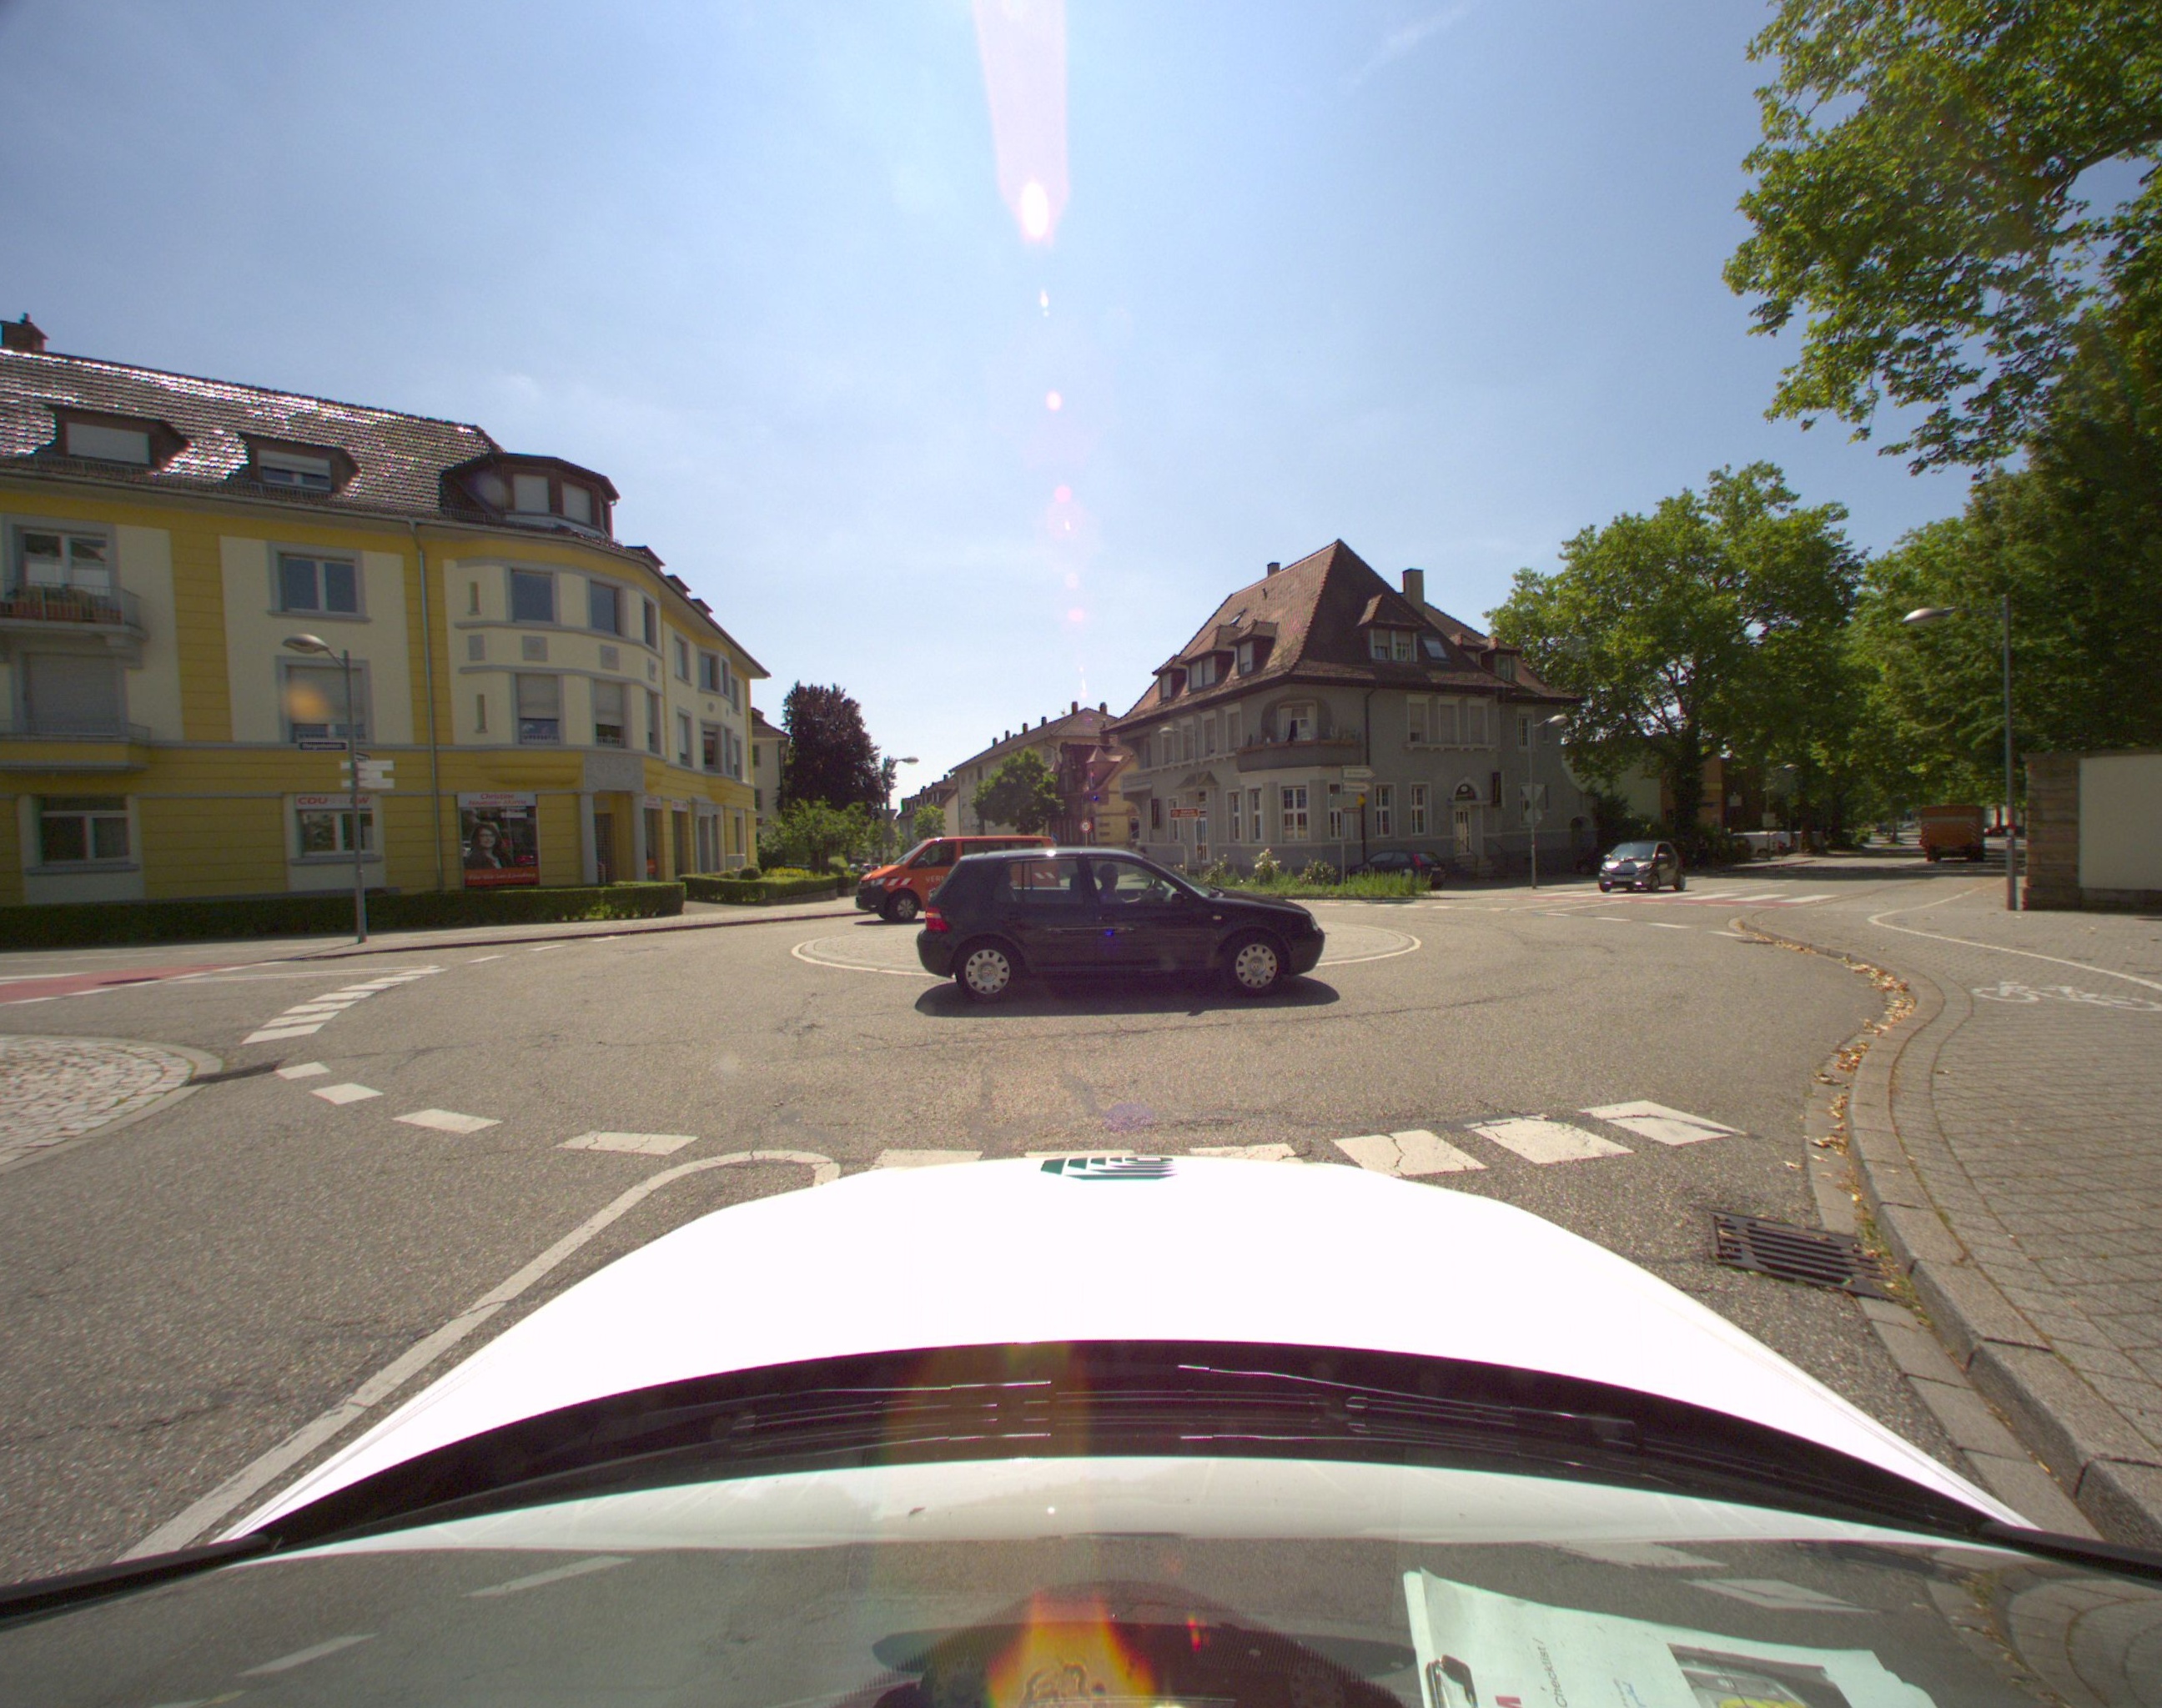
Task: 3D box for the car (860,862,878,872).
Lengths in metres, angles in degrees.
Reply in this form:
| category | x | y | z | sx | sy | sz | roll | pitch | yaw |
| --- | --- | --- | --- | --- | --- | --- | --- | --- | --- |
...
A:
| category | x | y | z | sx | sy | sz | roll | pitch | yaw |
| --- | --- | --- | --- | --- | --- | --- | --- | --- | --- |
| car | -32.306 | 1.938 | 124.150 | 2.003 | 1.509 | 4.383 | -1 | 0 | -24 |

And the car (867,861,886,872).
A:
| category | x | y | z | sx | sy | sz | roll | pitch | yaw |
| --- | --- | --- | --- | --- | --- | --- | --- | --- | --- |
| car | -29.822 | 1.859 | 118.699 | 2.003 | 1.509 | 4.383 | -1 | 0 | -24 |

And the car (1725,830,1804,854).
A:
| category | x | y | z | sx | sy | sz | roll | pitch | yaw |
| --- | --- | --- | --- | --- | --- | --- | --- | --- | --- |
| car | 52.409 | -0.957 | 62.483 | 1.913 | 1.804 | 4.385 | -1 | 2 | -41 |

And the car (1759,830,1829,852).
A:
| category | x | y | z | sx | sy | sz | roll | pitch | yaw |
| --- | --- | --- | --- | --- | --- | --- | --- | --- | --- |
| car | 58.999 | -1.114 | 67.424 | 1.913 | 1.804 | 4.093 | -1 | 2 | -41 |

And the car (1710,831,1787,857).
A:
| category | x | y | z | sx | sy | sz | roll | pitch | yaw |
| --- | --- | --- | --- | --- | --- | --- | --- | --- | --- |
| car | 47.177 | -0.737 | 57.617 | 1.878 | 1.792 | 3.953 | -1 | 2 | -41 |

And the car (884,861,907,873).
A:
| category | x | y | z | sx | sy | sz | roll | pitch | yaw |
| --- | --- | --- | --- | --- | --- | --- | --- | --- | --- |
| car | -23.842 | 1.677 | 104.501 | 2.003 | 1.509 | 4.383 | -1 | 0 | -24 |

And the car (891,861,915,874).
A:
| category | x | y | z | sx | sy | sz | roll | pitch | yaw |
| --- | --- | --- | --- | --- | --- | --- | --- | --- | --- |
| car | -21.922 | 1.620 | 100.090 | 2.003 | 1.509 | 4.383 | -1 | 0 | -24 |

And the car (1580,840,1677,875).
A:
| category | x | y | z | sx | sy | sz | roll | pitch | yaw |
| --- | --- | --- | --- | --- | --- | --- | --- | --- | --- |
| car | 25.520 | 0.158 | 38.061 | 1.728 | 1.546 | 3.362 | -1 | 0 | -28 |

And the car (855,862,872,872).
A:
| category | x | y | z | sx | sy | sz | roll | pitch | yaw |
| --- | --- | --- | --- | --- | --- | --- | --- | --- | --- |
| car | -34.644 | 2.009 | 129.516 | 2.003 | 1.509 | 4.383 | -1 | 0 | -24 |

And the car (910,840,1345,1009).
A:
| category | x | y | z | sx | sy | sz | roll | pitch | yaw |
| --- | --- | --- | --- | --- | --- | --- | --- | --- | --- |
| car | 0.449 | 0.640 | 8.469 | 4.033 | 1.447 | 1.716 | -2 | 1 | -1 |

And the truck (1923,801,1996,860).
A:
| category | x | y | z | sx | sy | sz | roll | pitch | yaw |
| --- | --- | --- | --- | --- | --- | --- | --- | --- | --- |
| truck | 49.808 | -1.262 | 46.136 | 5.797 | 3.134 | 2.351 | 0 | -1 | -39 |

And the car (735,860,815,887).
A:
| category | x | y | z | sx | sy | sz | roll | pitch | yaw |
| --- | --- | --- | --- | --- | --- | --- | --- | --- | --- |
| car | -19.242 | 1.228 | 51.252 | 4.433 | 1.509 | 1.981 | -1 | 0 | -30 |

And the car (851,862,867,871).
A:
| category | x | y | z | sx | sy | sz | roll | pitch | yaw |
| --- | --- | --- | --- | --- | --- | --- | --- | --- | --- |
| car | -36.614 | 2.031 | 134.331 | 2.002 | 1.488 | 3.969 | 0 | -1 | -23 |

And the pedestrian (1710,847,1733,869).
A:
| category | x | y | z | sx | sy | sz | roll | pitch | yaw |
| --- | --- | --- | --- | --- | --- | --- | --- | --- | --- |
| pedestrian | 32.090 | 0.199 | 40.795 | 0.902 | 1.122 | 0.747 | -1 | 0 | -41 |

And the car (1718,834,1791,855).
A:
| category | x | y | z | sx | sy | sz | roll | pitch | yaw |
| --- | --- | --- | --- | --- | --- | --- | --- | --- | --- |
| car | 50.331 | -0.728 | 60.937 | 1.878 | 1.515 | 3.953 | -1 | 2 | -41 |

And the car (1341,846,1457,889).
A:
| category | x | y | z | sx | sy | sz | roll | pitch | yaw |
| --- | --- | --- | --- | --- | --- | --- | --- | --- | --- |
| car | 11.719 | 0.494 | 30.227 | 1.728 | 1.460 | 3.758 | -1 | 0 | -28 |

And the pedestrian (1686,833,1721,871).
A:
| category | x | y | z | sx | sy | sz | roll | pitch | yaw |
| --- | --- | --- | --- | --- | --- | --- | --- | --- | --- |
| pedestrian | 29.293 | -0.085 | 38.332 | 1.115 | 1.742 | 0.867 | -1 | 0 | -27 |

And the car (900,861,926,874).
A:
| category | x | y | z | sx | sy | sz | roll | pitch | yaw |
| --- | --- | --- | --- | --- | --- | --- | --- | --- | --- |
| car | -19.617 | 1.555 | 94.889 | 2.003 | 1.509 | 4.383 | -1 | 0 | -24 |

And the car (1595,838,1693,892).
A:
| category | x | y | z | sx | sy | sz | roll | pitch | yaw |
| --- | --- | --- | --- | --- | --- | --- | --- | --- | --- |
| car | 17.259 | 0.307 | 24.956 | 2.800 | 1.530 | 1.553 | -1 | 0 | -35 |

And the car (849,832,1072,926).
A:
| category | x | y | z | sx | sy | sz | roll | pitch | yaw |
| --- | --- | --- | --- | --- | --- | --- | --- | --- | --- |
| car | -2.905 | 0.525 | 19.659 | 5.023 | 1.959 | 1.936 | -2 | 1 | -21 |

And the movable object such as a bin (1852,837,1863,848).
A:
| category | x | y | z | sx | sy | sz | roll | pitch | yaw |
| --- | --- | --- | --- | --- | --- | --- | --- | --- | --- |
| movable object such as a bin | 74.128 | -1.085 | 77.755 | 0.622 | 1.048 | 0.619 | -1 | 0 | -31 |
